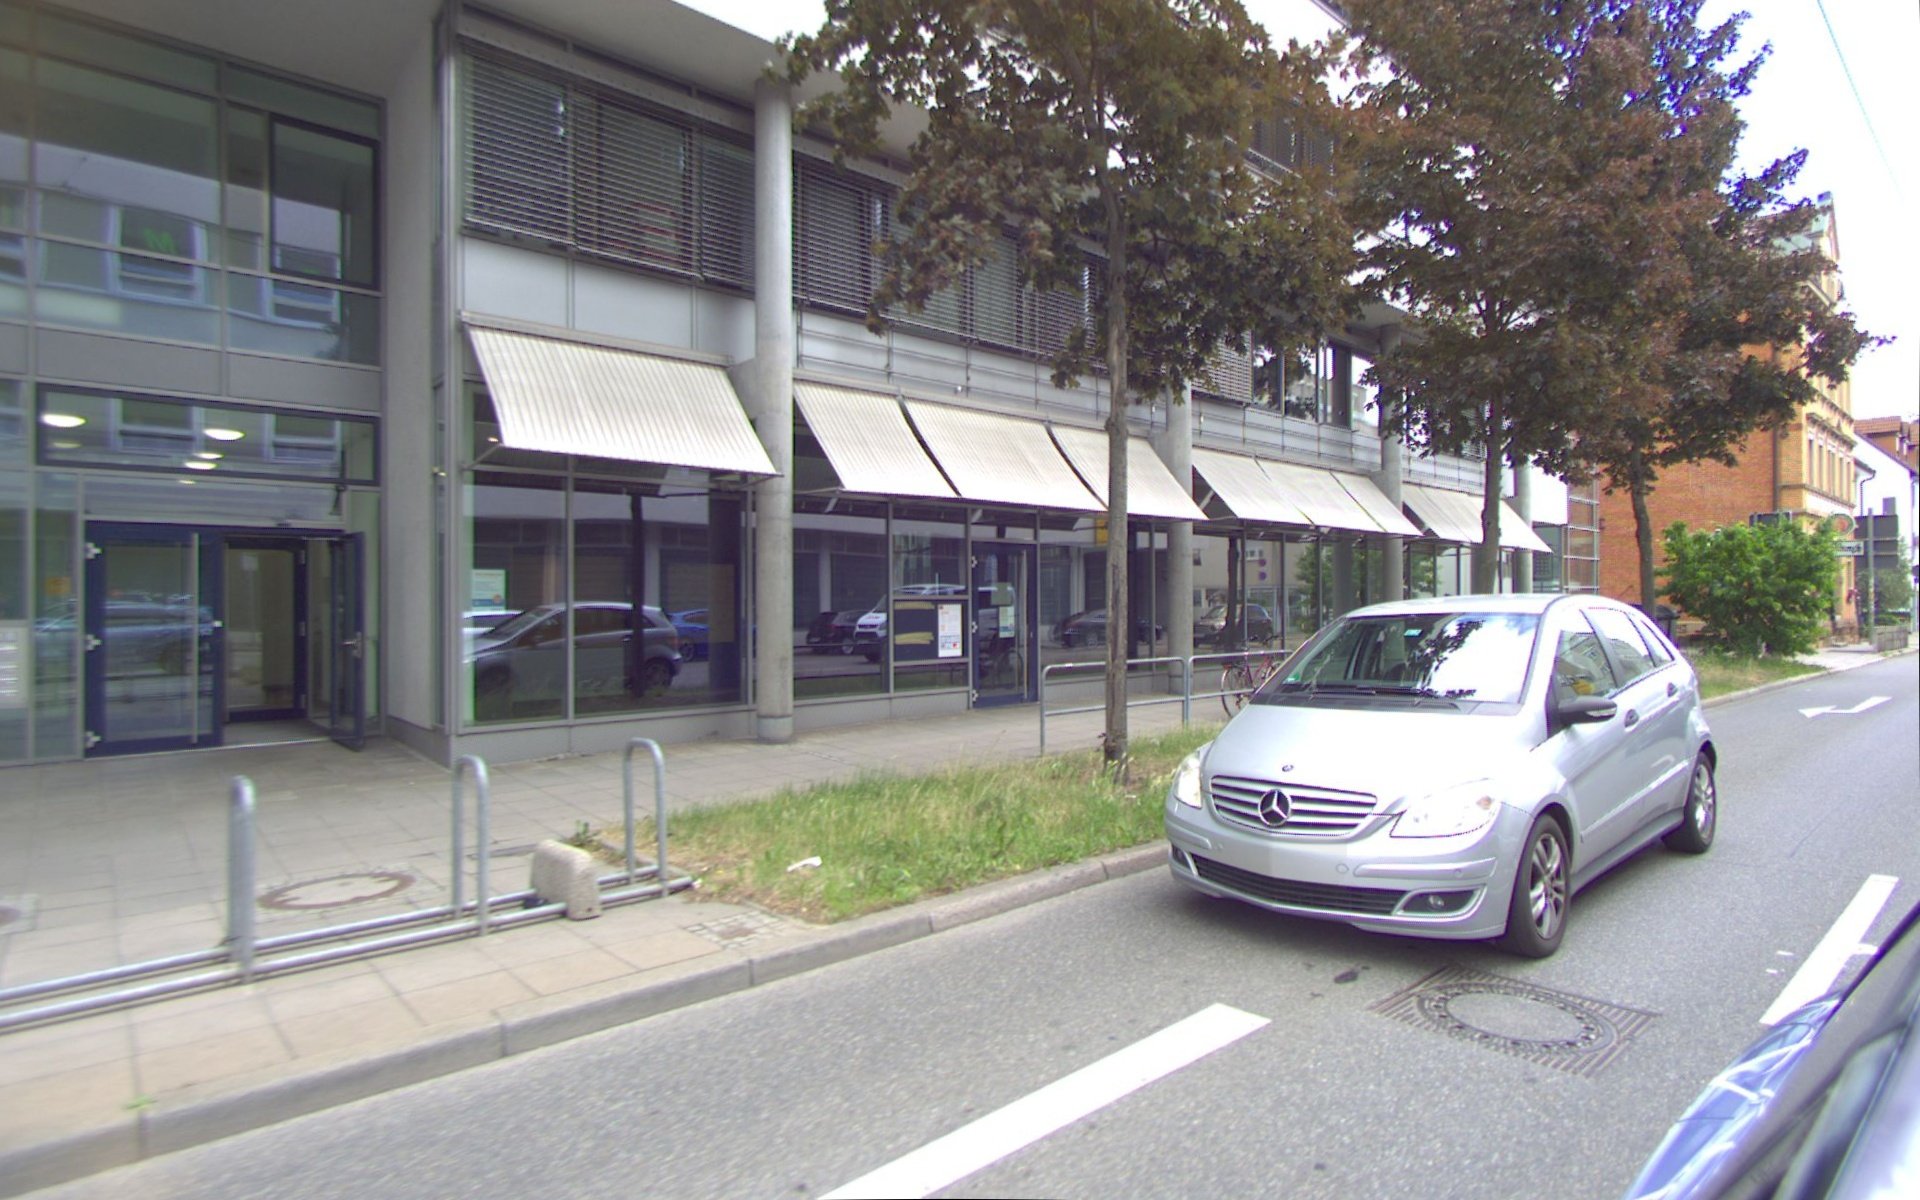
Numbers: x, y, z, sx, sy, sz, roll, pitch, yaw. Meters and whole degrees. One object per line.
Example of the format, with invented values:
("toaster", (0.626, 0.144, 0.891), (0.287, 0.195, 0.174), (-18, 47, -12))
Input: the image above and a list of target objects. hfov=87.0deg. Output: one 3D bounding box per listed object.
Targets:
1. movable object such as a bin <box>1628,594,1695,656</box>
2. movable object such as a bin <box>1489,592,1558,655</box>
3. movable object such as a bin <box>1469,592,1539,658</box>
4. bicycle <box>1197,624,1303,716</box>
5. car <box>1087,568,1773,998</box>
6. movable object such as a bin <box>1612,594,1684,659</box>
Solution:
("movable object such as a bin", (17.506, 0.594, 25.259), (1.310, 1.484, 1.099), (0, 1, -43))
("movable object such as a bin", (13.907, 0.557, 24.992), (1.310, 1.484, 1.123), (0, 1, -43))
("movable object such as a bin", (12.937, 0.568, 24.070), (1.310, 1.484, 1.099), (0, 1, -43))
("bicycle", (3.859, 0.886, 13.375), (1.993, 1.100, 0.361), (0, -1, -43))
("car", (3.009, 0.700, 5.960), (4.492, 1.566, 1.996), (0, -2, -42))
("movable object such as a bin", (16.539, 0.601, 24.317), (1.389, 1.484, 1.129), (0, 1, -43))
